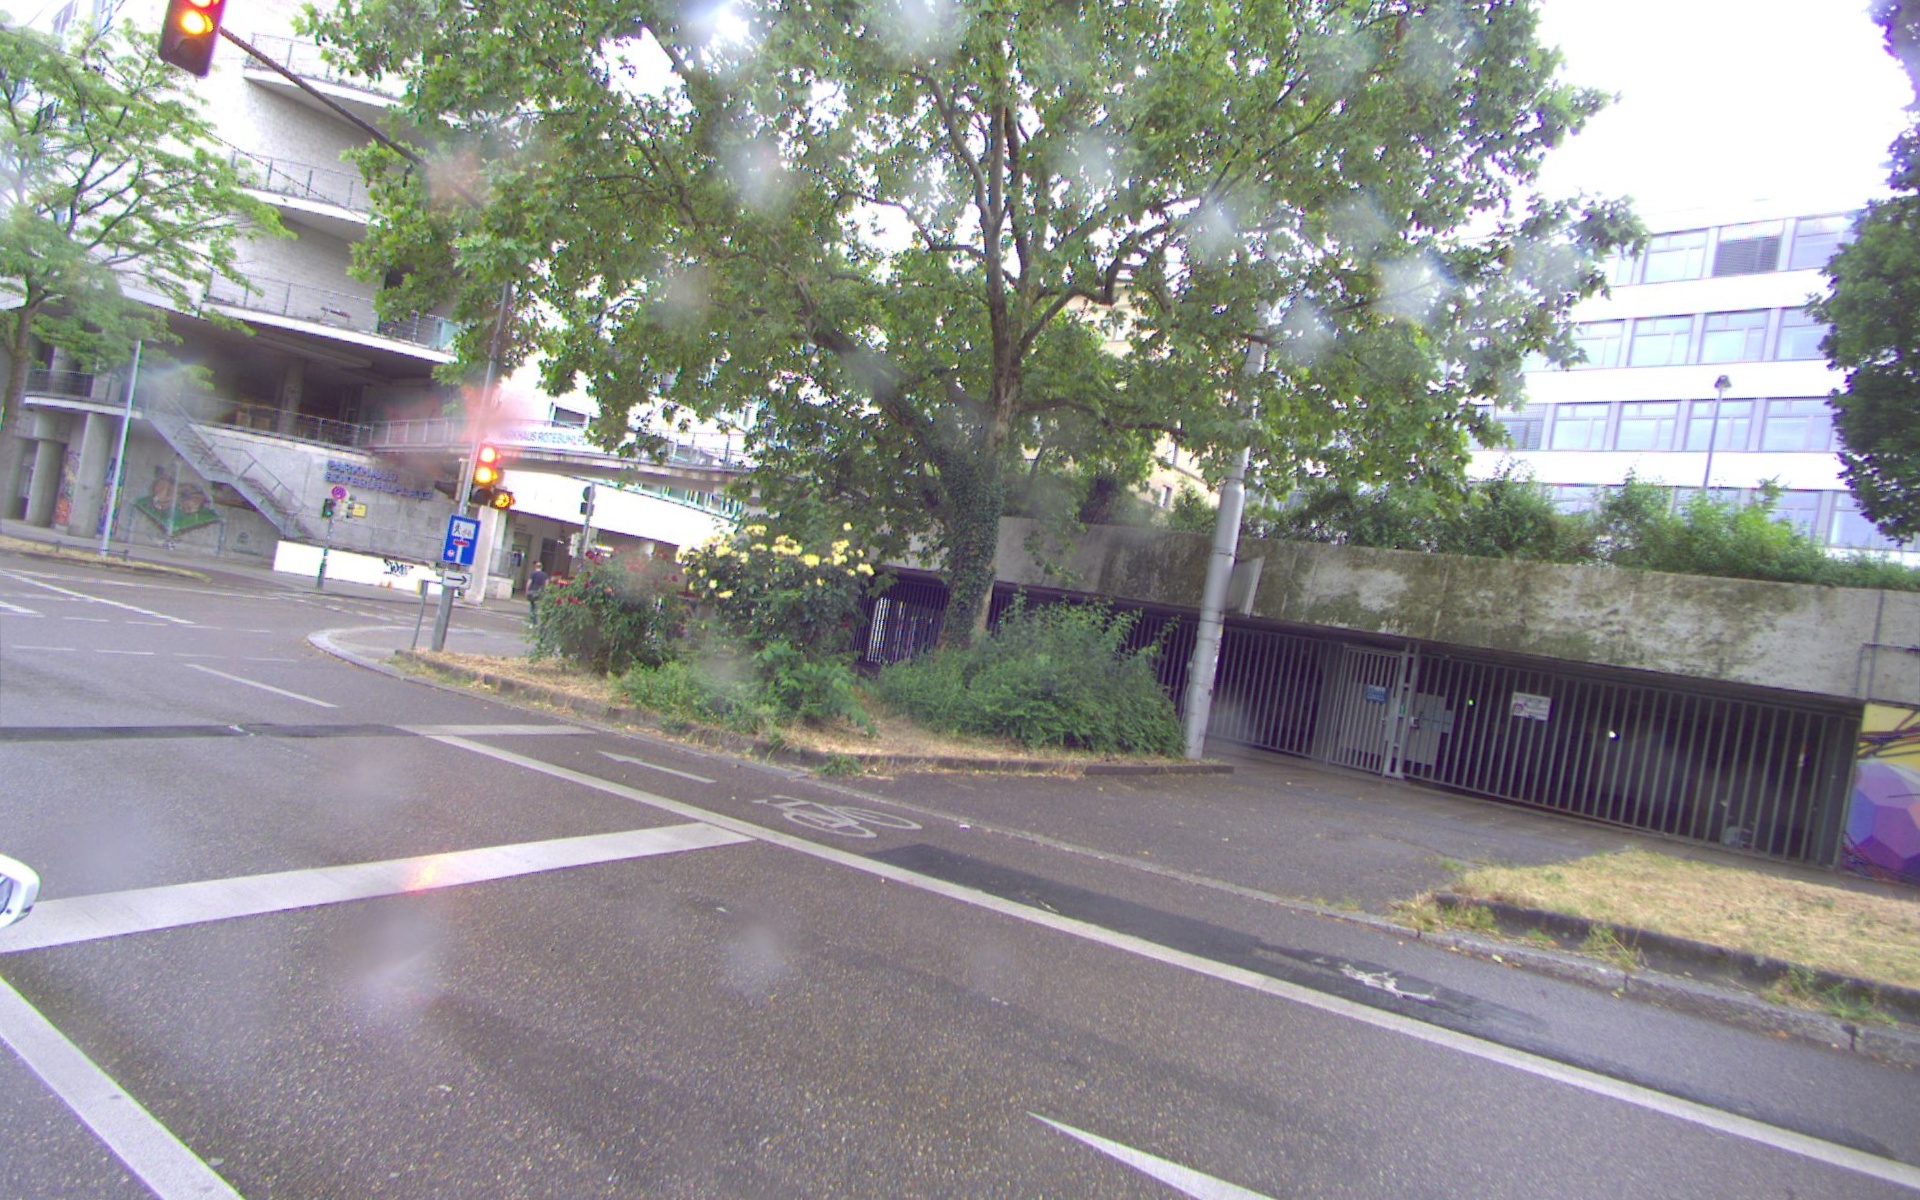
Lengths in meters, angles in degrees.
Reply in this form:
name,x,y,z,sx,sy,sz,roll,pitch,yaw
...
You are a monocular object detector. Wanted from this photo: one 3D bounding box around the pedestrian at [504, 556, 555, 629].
name,x,y,z,sx,sy,sz,roll,pitch,yaw
pedestrian,-12.308,-0.206,28.785,0.745,1.932,0.847,8,-1,31
